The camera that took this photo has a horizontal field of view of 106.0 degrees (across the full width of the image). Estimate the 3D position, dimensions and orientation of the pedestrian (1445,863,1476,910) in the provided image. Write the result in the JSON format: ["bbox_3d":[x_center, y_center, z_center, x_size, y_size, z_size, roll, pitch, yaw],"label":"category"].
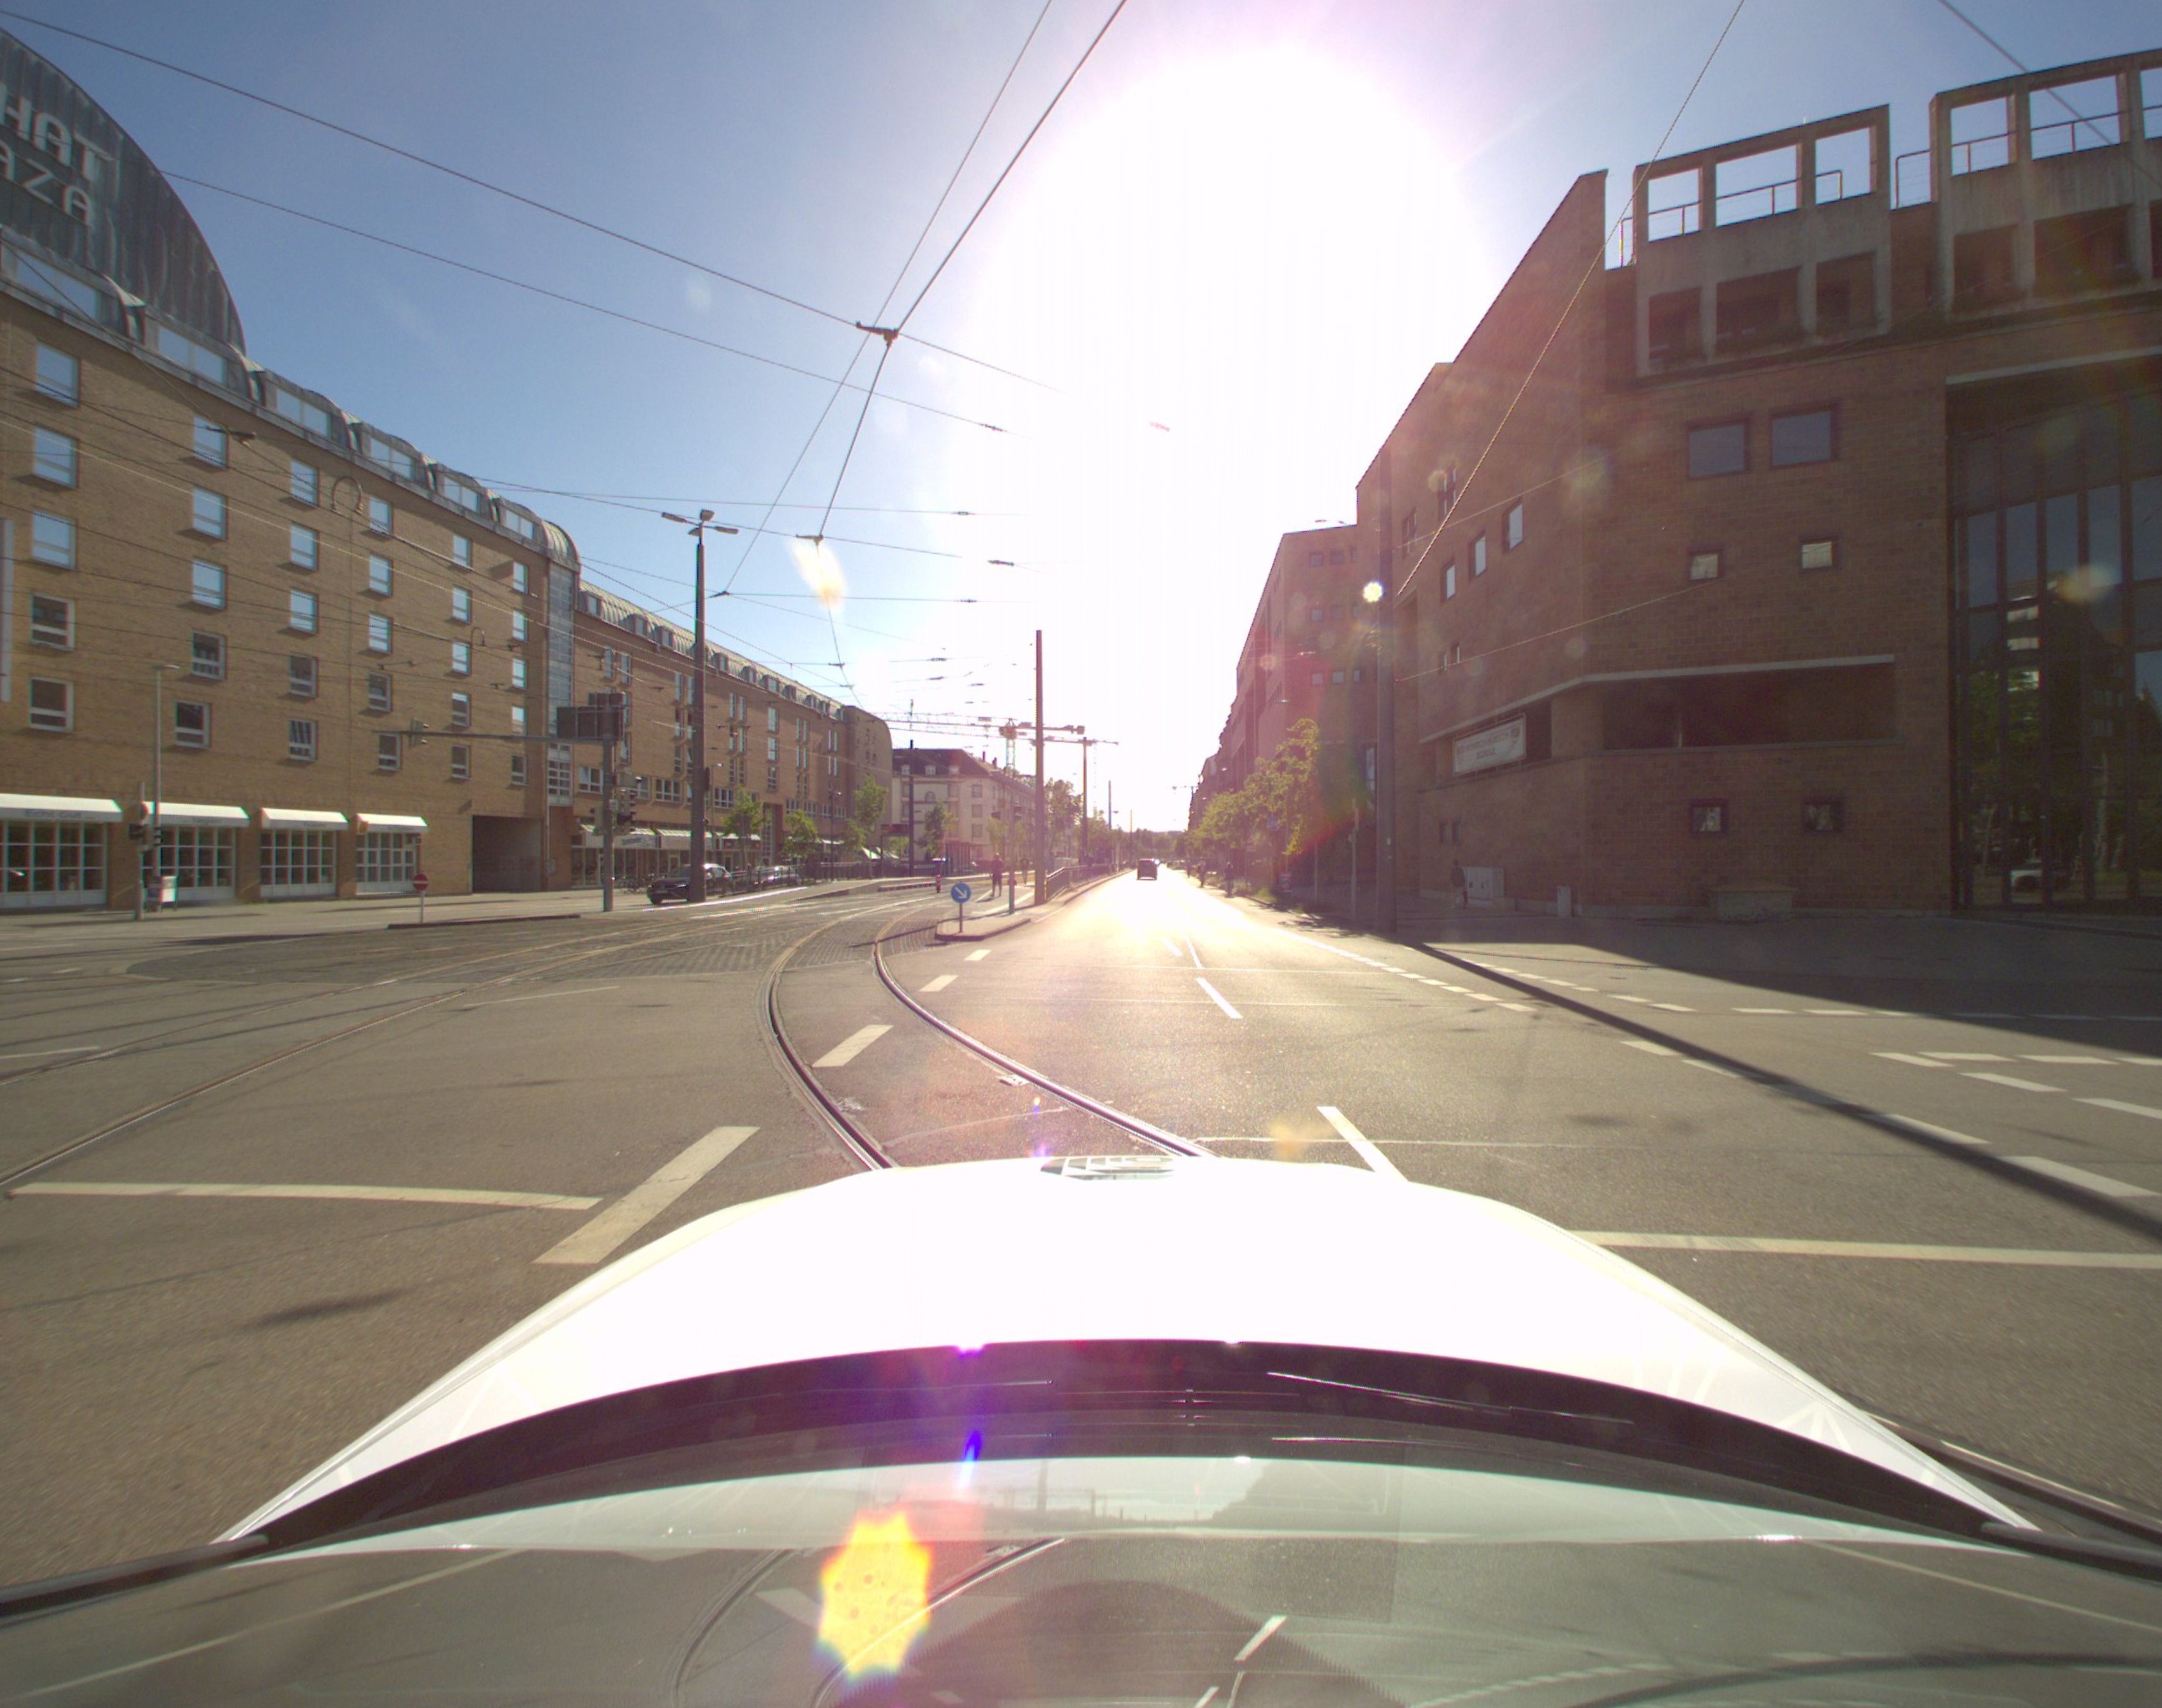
[{"bbox_3d":[12.630,1.071,27.127,0.615,1.563,0.987,0,-1,2],"label":"pedestrian"}]

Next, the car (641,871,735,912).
[{"bbox_3d":[-16.136,1.511,33.663,1.602,1.398,3.925,-4,0,5],"label":"car"}]

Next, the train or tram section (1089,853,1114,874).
[{"bbox_3d":[3.316,1.444,128.819,2.313,3.003,13.189,1,0,8],"label":"train or tram section"}]

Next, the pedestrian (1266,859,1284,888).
[{"bbox_3d":[11.747,1.160,49.350,0.876,1.717,0.932,0,-1,3],"label":"pedestrian"}]

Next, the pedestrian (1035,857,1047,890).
[{"bbox_3d":[-2.070,1.008,41.901,0.508,1.655,0.762,0,-1,3],"label":"pedestrian"}]

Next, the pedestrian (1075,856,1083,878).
[{"bbox_3d":[-0.140,0.945,60.354,0.598,1.655,0.667,0,-1,3],"label":"pedestrian"}]

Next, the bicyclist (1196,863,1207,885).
[{"bbox_3d":[8.316,1.373,56.074,0.664,1.527,0.707,0,-1,3],"label":"bicyclist"}]

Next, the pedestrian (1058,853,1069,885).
[{"bbox_3d":[-0.912,0.785,42.287,0.536,1.655,0.707,0,-1,3],"label":"pedestrian"}]

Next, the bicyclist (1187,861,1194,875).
[{"bbox_3d":[11.704,1.513,86.912,0.664,1.527,0.707,0,-1,3],"label":"bicyclist"}]

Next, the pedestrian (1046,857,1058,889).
[{"bbox_3d":[-1.508,0.968,42.140,0.536,1.655,0.897,0,-1,3],"label":"pedestrian"}]

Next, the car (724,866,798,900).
[{"bbox_3d":[-15.644,1.377,40.049,1.602,1.398,4.233,-4,0,5],"label":"car"}]

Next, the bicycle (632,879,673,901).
[{"bbox_3d":[-27.380,2.294,52.004,2.466,1.310,0.736,0,-1,15],"label":"bicycle"}]

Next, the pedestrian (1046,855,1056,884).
[{"bbox_3d":[-1.606,0.847,43.957,0.516,1.551,0.600,0,-1,0],"label":"pedestrian"}]

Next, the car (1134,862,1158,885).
[{"bbox_3d":[5.770,1.702,72.711,1.985,1.948,4.003,0,-1,3],"label":"car"}]

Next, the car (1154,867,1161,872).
[{"bbox_3d":[21.559,4.282,228.774,1.984,1.420,4.005,0,0,5],"label":"car"}]

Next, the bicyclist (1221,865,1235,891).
[{"bbox_3d":[7.463,1.220,41.444,0.590,1.336,0.934,0,-1,3],"label":"bicyclist"}]

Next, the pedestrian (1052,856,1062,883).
[{"bbox_3d":[-1.493,0.951,50.892,0.536,1.655,0.634,0,-1,3],"label":"pedestrian"}]

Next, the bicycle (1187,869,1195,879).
[{"bbox_3d":[11.721,2.150,86.793,0.664,0.985,2.588,0,-1,3],"label":"bicycle"}]

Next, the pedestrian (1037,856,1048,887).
[{"bbox_3d":[-2.219,1.009,46.674,0.536,1.774,0.634,0,-1,3],"label":"pedestrian"}]

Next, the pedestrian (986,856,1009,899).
[{"bbox_3d":[-3.345,0.927,32.710,0.610,1.669,0.867,-3,0,11],"label":"pedestrian"}]

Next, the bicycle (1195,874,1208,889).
[{"bbox_3d":[8.327,1.863,56.165,0.664,0.985,2.588,0,-1,3],"label":"bicycle"}]

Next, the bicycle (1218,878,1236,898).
[{"bbox_3d":[7.511,1.736,41.982,0.600,0.985,2.316,0,-1,3],"label":"bicycle"}]

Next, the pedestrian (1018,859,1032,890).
[{"bbox_3d":[-2.903,1.059,42.327,0.598,1.566,0.914,0,-1,3],"label":"pedestrian"}]

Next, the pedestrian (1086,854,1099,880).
[{"bbox_3d":[0.724,0.843,53.003,0.717,1.735,0.599,0,-1,-14],"label":"pedestrian"}]
